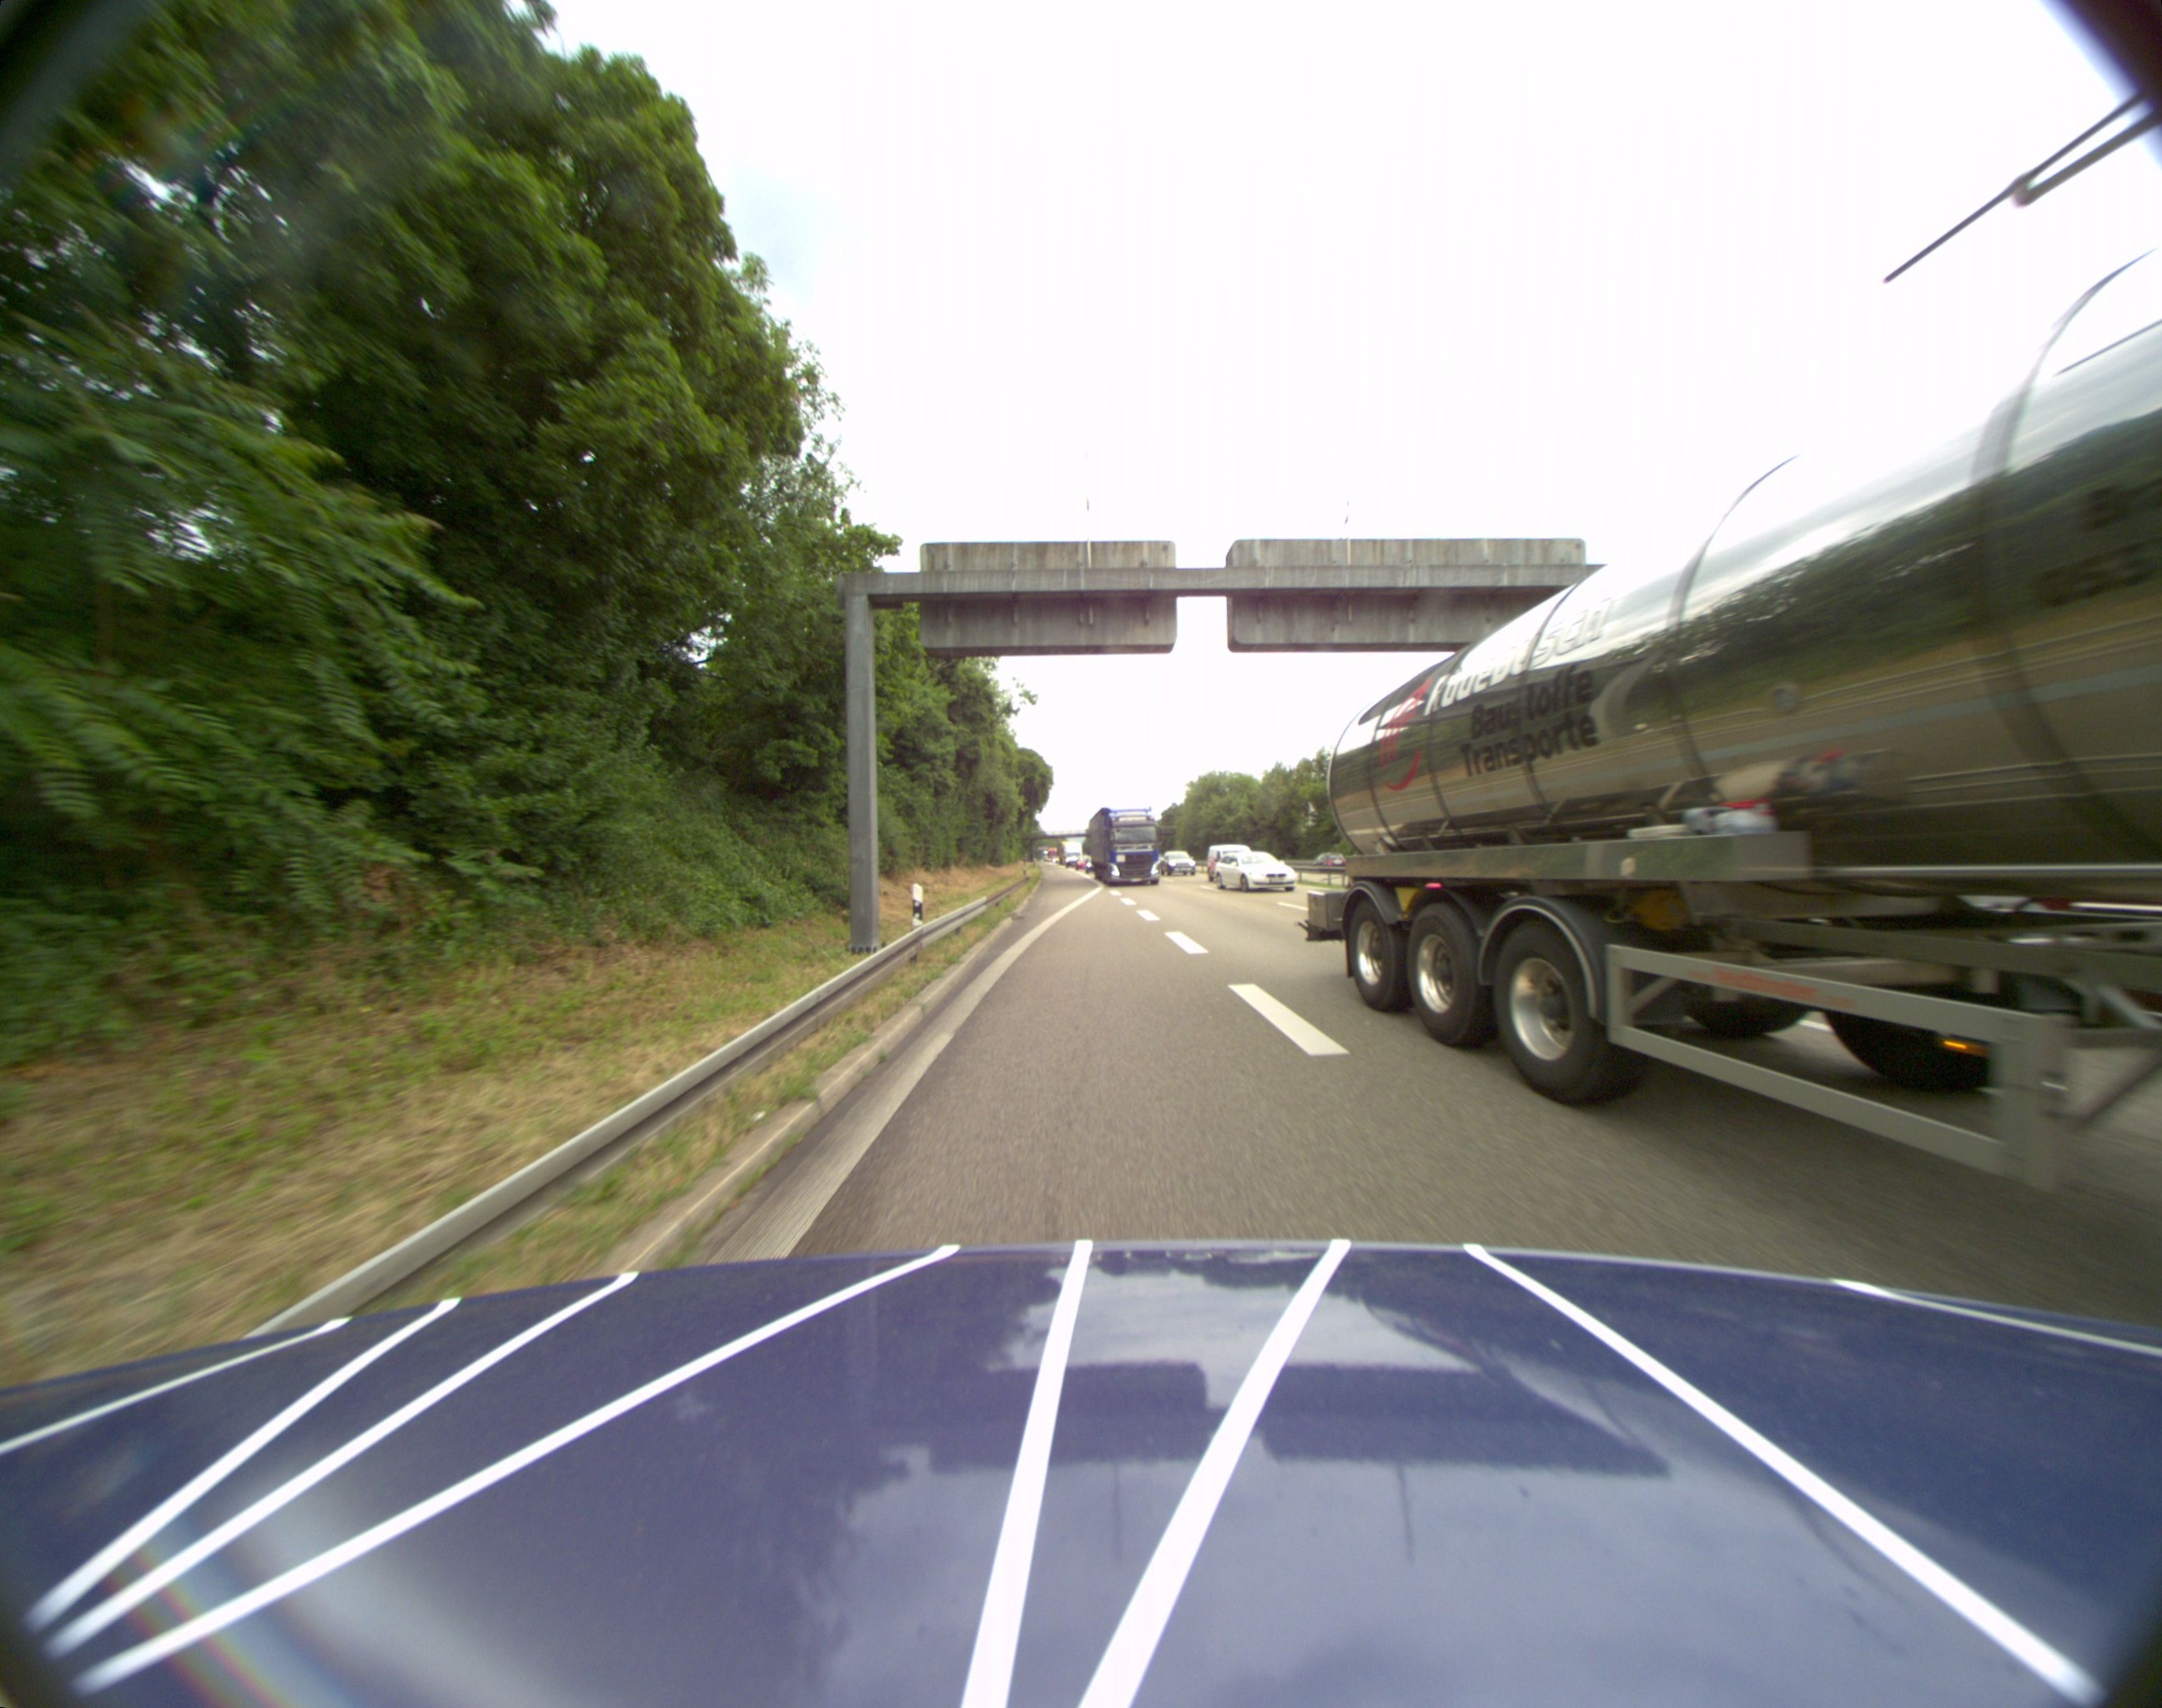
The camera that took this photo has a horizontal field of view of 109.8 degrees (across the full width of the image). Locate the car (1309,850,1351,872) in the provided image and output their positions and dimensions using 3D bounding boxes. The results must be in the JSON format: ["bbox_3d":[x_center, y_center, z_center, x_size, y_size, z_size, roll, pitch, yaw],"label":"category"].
[{"bbox_3d":[17.951,0.462,54.943,1.578,1.487,3.831,-1,0,-4],"label":"car"}]

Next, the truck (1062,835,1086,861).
[{"bbox_3d":[-1.275,-1.023,131.077,3.366,4.041,10.179,-3,1,-4],"label":"truck"}]

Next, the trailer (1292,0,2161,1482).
[{"bbox_3d":[3.908,-0.445,3.262,2.690,3.884,10.985,-1,0,-1],"label":"trailer"}]

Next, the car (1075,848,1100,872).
[{"bbox_3d":[0.523,0.484,65.302,1.752,2.002,3.998,-2,0,-5],"label":"car"}]

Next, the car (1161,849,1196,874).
[{"bbox_3d":[6.539,0.480,51.427,1.848,1.642,4.000,-1,0,0],"label":"car"}]

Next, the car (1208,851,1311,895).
[{"bbox_3d":[6.604,0.651,28.829,2.064,1.455,5.254,-1,0,-7],"label":"car"}]

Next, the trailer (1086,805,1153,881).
[{"bbox_3d":[2.122,-0.649,47.561,2.845,4.013,13.082,-3,1,-2],"label":"trailer"}]

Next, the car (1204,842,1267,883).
[{"bbox_3d":[7.465,0.367,37.294,1.852,1.839,5.006,-1,0,-2],"label":"car"}]

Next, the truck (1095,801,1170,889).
[{"bbox_3d":[2.471,-0.443,38.981,2.961,3.946,7.469,-2,0,-2],"label":"truck"}]

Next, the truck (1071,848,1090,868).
[{"bbox_3d":[-0.026,0.354,80.122,1.894,2.002,6.090,-1,0,0],"label":"truck"}]

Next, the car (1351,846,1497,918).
[{"bbox_3d":[8.004,0.573,18.152,1.631,1.515,4.089,-1,1,0],"label":"car"}]

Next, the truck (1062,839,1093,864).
[{"bbox_3d":[-0.539,-0.326,99.972,3.366,3.099,7.236,-3,1,-5],"label":"truck"}]
